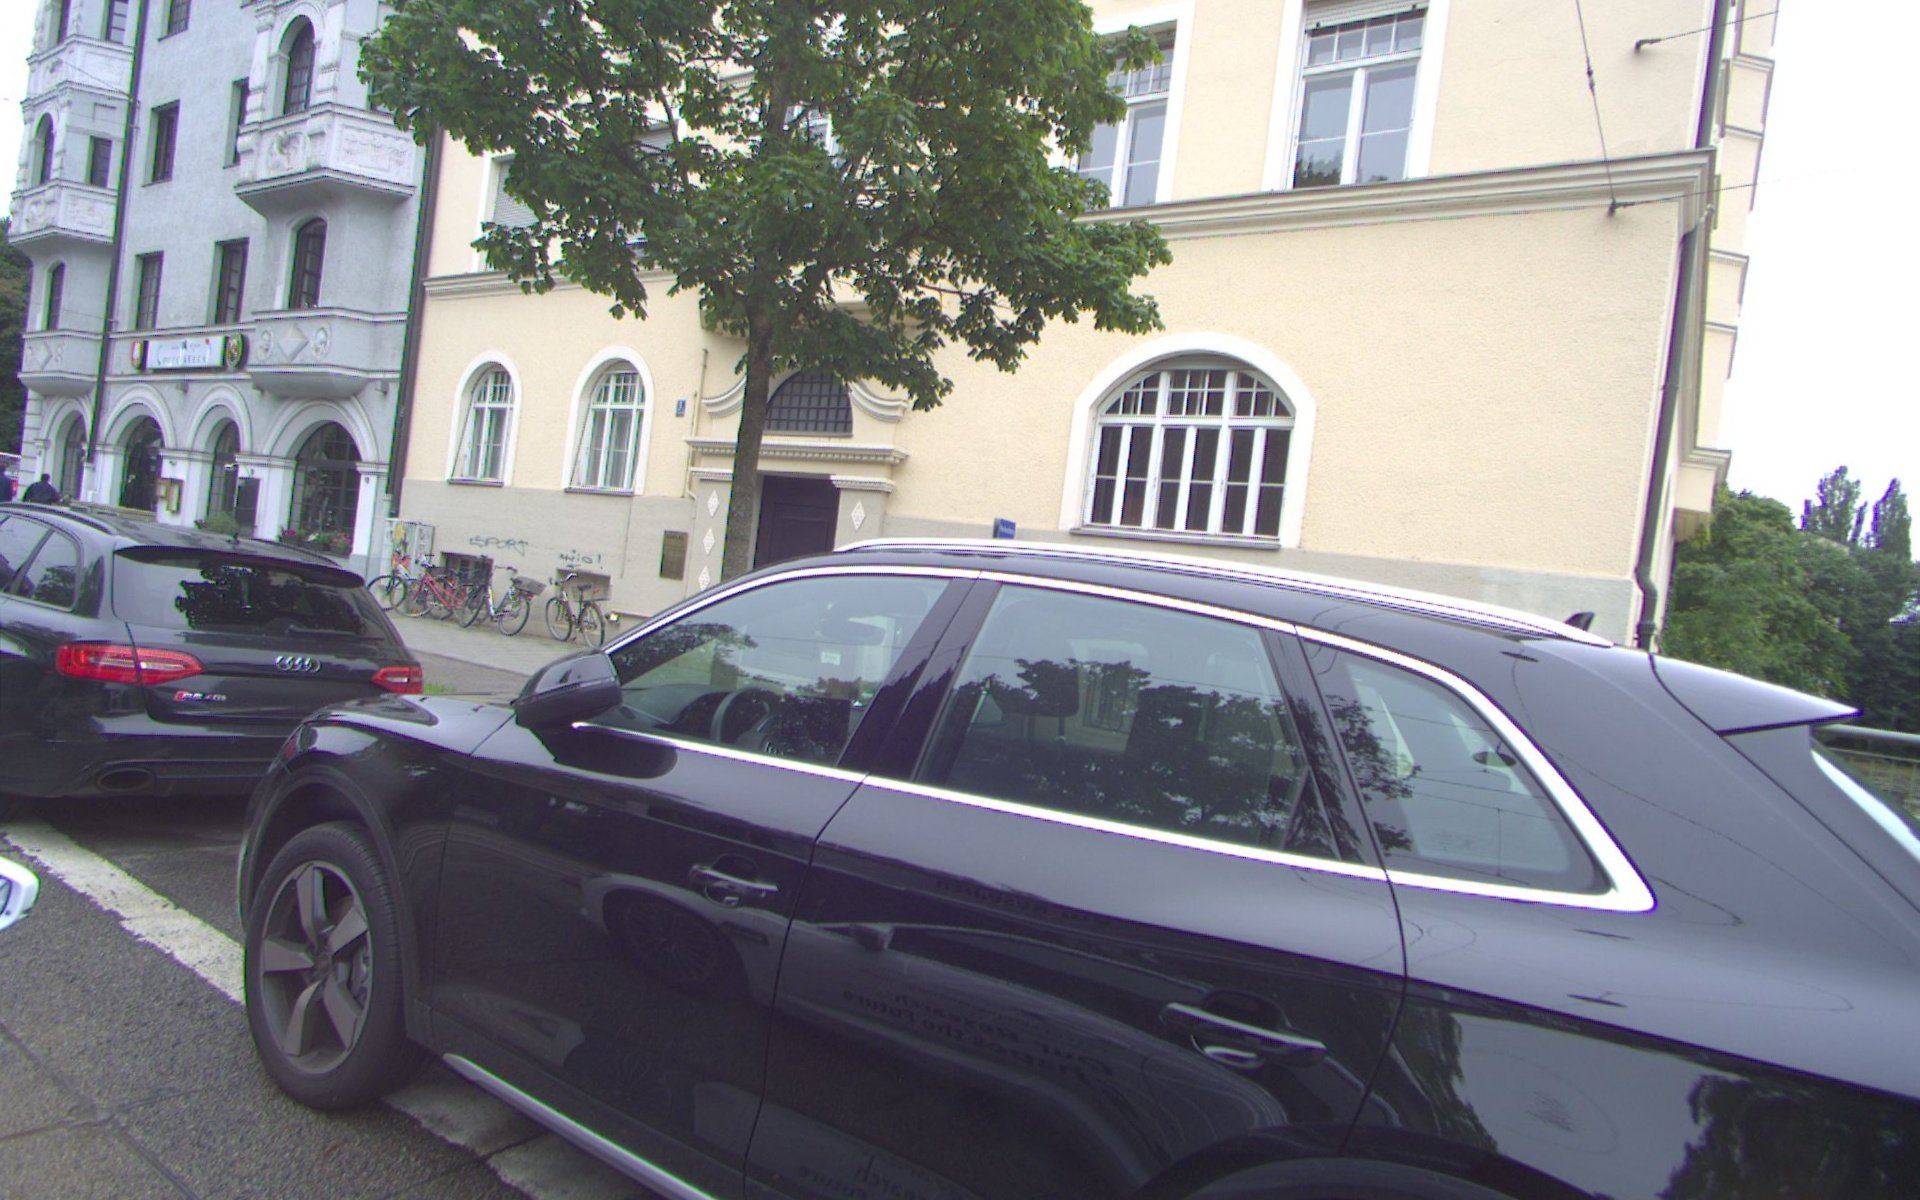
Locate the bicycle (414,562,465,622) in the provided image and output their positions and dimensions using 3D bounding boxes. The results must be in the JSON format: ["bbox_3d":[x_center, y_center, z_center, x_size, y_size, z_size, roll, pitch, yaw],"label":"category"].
[{"bbox_3d":[-9.085,-0.148,17.553,0.871,0.941,0.306,7,-1,34],"label":"bicycle"}]

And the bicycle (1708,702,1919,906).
[{"bbox_3d":[6.833,1.565,7.795,1.511,1.327,0.332,7,-1,30],"label":"bicycle"}]

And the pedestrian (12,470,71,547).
[{"bbox_3d":[-23.001,-2.290,25.199,0.829,1.752,0.706,7,-1,32],"label":"pedestrian"}]

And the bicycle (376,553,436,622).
[{"bbox_3d":[-9.595,-0.224,17.411,1.203,1.051,0.242,7,-1,32],"label":"bicycle"}]

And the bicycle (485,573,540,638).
[{"bbox_3d":[-7.235,0.092,16.256,0.871,0.941,0.285,7,-1,33],"label":"bicycle"}]

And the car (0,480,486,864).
[{"bbox_3d":[-4.951,0.150,5.747,4.525,1.442,1.720,7,-2,31],"label":"car"}]

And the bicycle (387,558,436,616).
[{"bbox_3d":[-9.866,-0.234,18.079,0.871,0.941,0.291,7,-1,33],"label":"bicycle"}]

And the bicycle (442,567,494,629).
[{"bbox_3d":[-8.313,-0.043,16.999,0.871,0.941,0.273,7,-1,33],"label":"bicycle"}]

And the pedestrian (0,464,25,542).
[{"bbox_3d":[-23.737,-2.422,24.739,0.855,1.837,0.706,7,-1,32],"label":"pedestrian"}]

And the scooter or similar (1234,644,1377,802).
[{"bbox_3d":[3.315,1.161,9.678,1.123,1.328,0.262,7,-1,32],"label":"scooter or similar"}]

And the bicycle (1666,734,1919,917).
[{"bbox_3d":[6.490,1.729,7.894,1.417,1.119,0.287,7,0,24],"label":"bicycle"}]

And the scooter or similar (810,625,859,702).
[{"bbox_3d":[-1.594,0.808,12.795,0.413,0.921,0.348,8,-1,11],"label":"scooter or similar"}]

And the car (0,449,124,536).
[{"bbox_3d":[-36.555,-4.335,39.347,2.192,2.642,5.311,7,-2,29],"label":"car"}]

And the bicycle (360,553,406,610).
[{"bbox_3d":[-10.643,-0.342,18.563,0.871,0.941,0.259,7,-1,33],"label":"bicycle"}]

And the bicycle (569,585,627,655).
[{"bbox_3d":[-5.485,0.301,15.228,0.871,0.941,0.222,7,-1,31],"label":"bicycle"}]

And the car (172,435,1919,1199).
[{"bbox_3d":[0.073,0.650,2.570,4.414,1.677,1.777,7,-2,32],"label":"car"}]
